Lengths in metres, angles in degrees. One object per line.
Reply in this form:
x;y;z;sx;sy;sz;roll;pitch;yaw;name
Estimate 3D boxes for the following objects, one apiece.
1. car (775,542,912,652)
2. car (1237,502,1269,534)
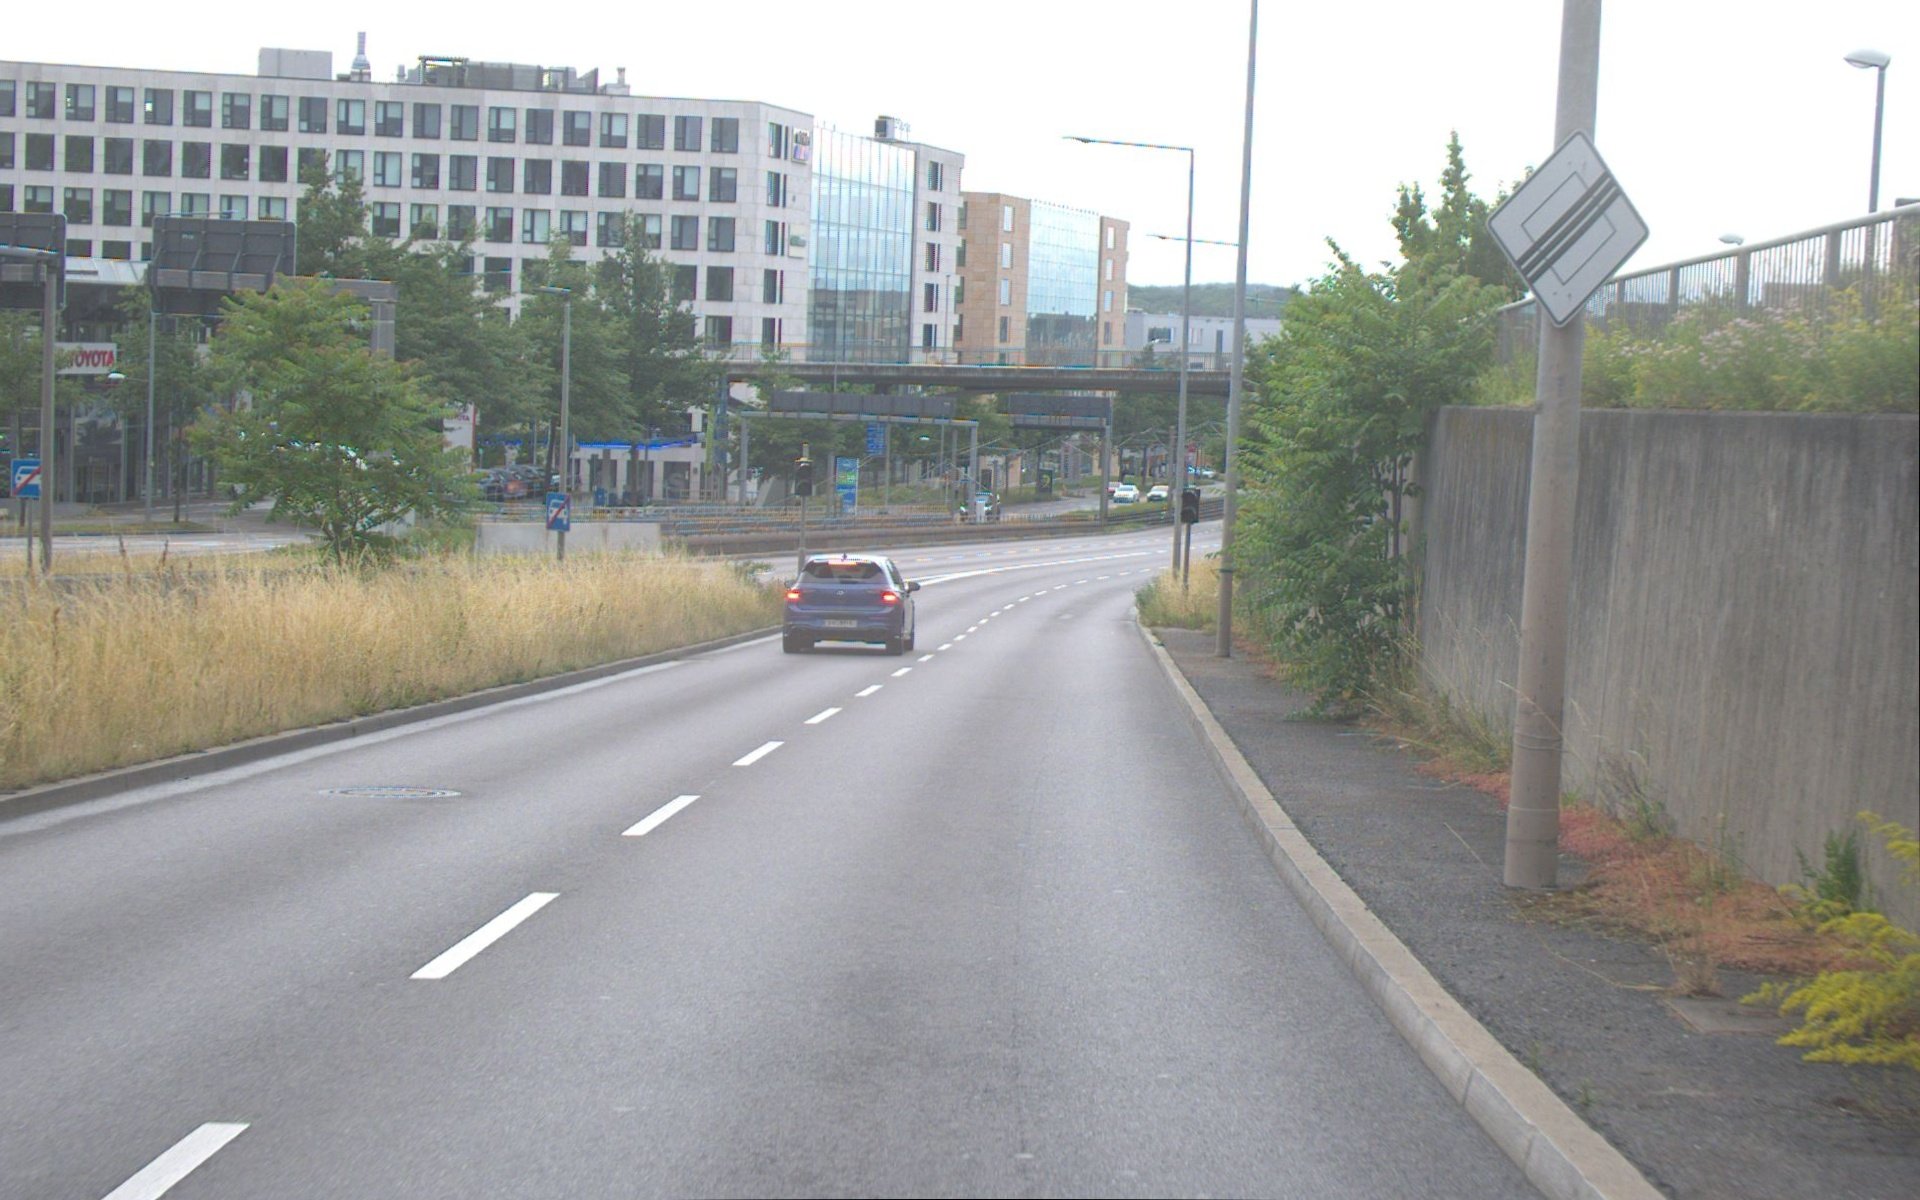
-1.686;-0.074;50.834;1.749;1.415;3.478;-1;3;2;car
19.589;-5.469;229.700;1.863;1.743;4.000;5;5;6;car
